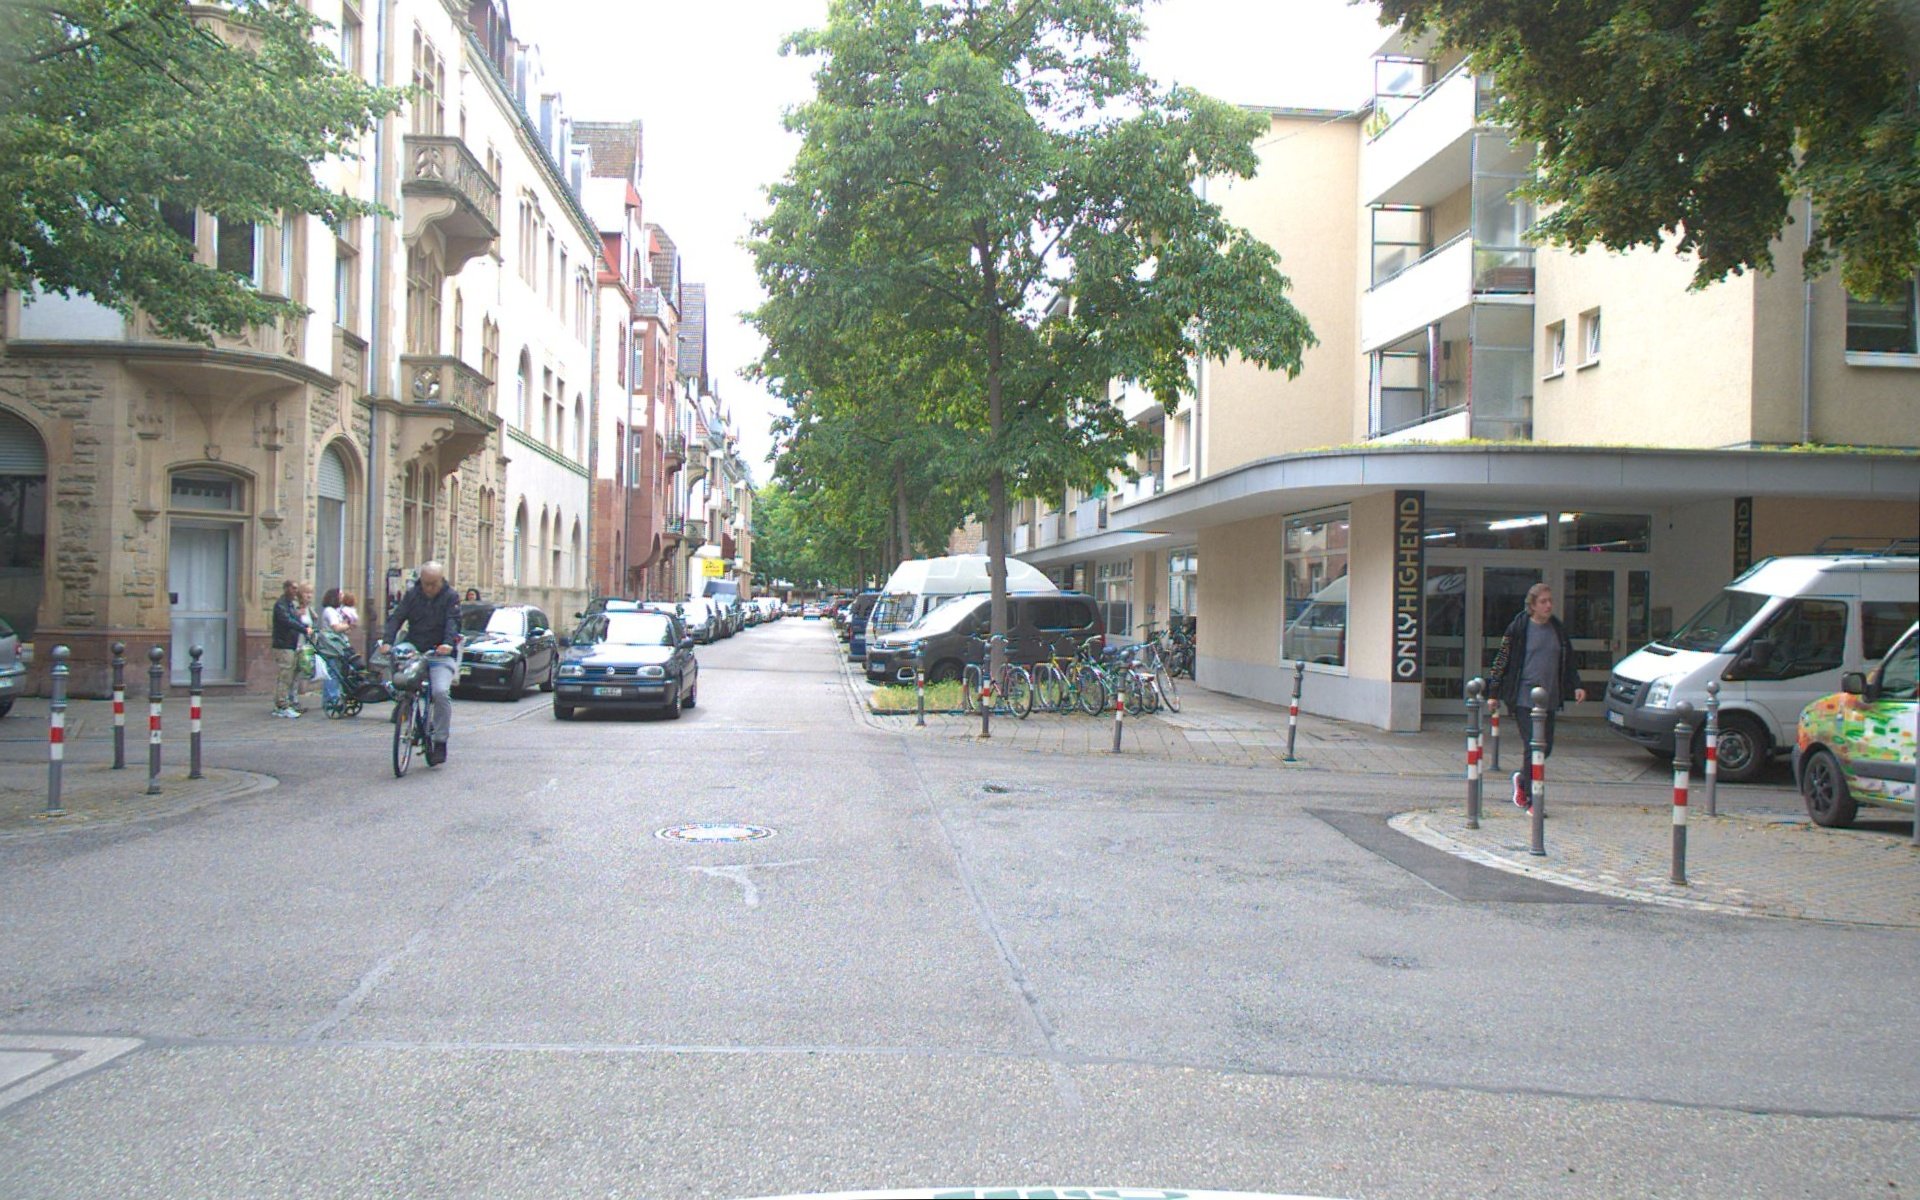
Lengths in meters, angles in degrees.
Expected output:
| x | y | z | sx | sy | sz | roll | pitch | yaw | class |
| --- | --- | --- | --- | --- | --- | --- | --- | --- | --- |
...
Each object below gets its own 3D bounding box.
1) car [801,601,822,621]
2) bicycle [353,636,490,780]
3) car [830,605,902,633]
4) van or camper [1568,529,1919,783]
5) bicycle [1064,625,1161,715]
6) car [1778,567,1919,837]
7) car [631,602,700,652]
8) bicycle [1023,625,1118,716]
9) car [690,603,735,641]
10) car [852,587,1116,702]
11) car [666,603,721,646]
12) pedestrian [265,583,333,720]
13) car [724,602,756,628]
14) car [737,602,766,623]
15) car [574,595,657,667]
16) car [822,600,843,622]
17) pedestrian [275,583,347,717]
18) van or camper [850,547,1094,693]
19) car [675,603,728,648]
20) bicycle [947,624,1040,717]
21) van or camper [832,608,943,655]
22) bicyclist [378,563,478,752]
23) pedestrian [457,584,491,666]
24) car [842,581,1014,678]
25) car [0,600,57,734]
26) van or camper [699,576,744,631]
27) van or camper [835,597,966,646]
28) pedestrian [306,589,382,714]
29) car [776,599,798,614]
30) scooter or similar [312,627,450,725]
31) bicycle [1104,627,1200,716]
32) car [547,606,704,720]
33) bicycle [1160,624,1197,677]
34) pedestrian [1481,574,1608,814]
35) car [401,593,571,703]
| x | y | z | sx | sy | sz | roll | pitch | yaw | class |
| --- | --- | --- | --- | --- | --- | --- | --- | --- | --- |
| -14.425 | 1.052 | 160.838 | 1.954 | 1.825 | 3.996 | 3 | -1 | -4 | car |
| -4.505 | 0.872 | 13.964 | 0.621 | 1.113 | 1.798 | 1 | -1 | -3 | bicycle |
| -5.655 | 1.157 | 99.951 | 3.978 | 1.587 | 1.861 | 2 | -1 | -36 | car |
| 9.855 | 0.556 | 17.980 | 5.652 | 2.537 | 2.137 | 1 | 3 | 1 | van or camper |
| 2.148 | 0.974 | 23.506 | 0.541 | 1.194 | 1.714 | 1 | 0 | -26 | bicycle |
| 7.473 | 0.716 | 11.229 | 1.734 | 1.851 | 3.998 | 1 | 0 | -2 | car |
| -9.166 | 0.829 | 51.731 | 1.692 | 1.410 | 4.132 | 3 | 0 | -5 | car |
| 1.529 | 0.964 | 23.260 | 0.541 | 1.194 | 1.714 | 1 | 0 | -26 | bicycle |
| -10.650 | 0.927 | 71.365 | 1.603 | 1.498 | 3.996 | 3 | 0 | -5 | car |
| 0.440 | 0.760 | 29.074 | 4.286 | 1.886 | 1.892 | 1 | 0 | -30 | car |
| -9.700 | 0.863 | 60.374 | 1.630 | 1.445 | 3.925 | 3 | 0 | -5 | car |
| -8.246 | 0.636 | 20.644 | 0.516 | 1.672 | 0.529 | 2 | 0 | 7 | pedestrian |
| -13.688 | 0.917 | 102.920 | 1.755 | 1.506 | 4.018 | 2 | 0 | -5 | car |
| -15.815 | 0.930 | 125.601 | 1.954 | 1.501 | 3.996 | 1 | 0 | -5 | car |
| -8.459 | 0.734 | 40.819 | 1.615 | 1.598 | 2.953 | 3 | 1 | -6 | car |
| -13.118 | 1.121 | 169.949 | 1.955 | 2.048 | 3.995 | 4 | -1 | -5 | car |
| -8.326 | 0.633 | 21.237 | 0.603 | 1.672 | 0.604 | 2 | 0 | 7 | pedestrian |
| 0.276 | 0.388 | 32.134 | 4.548 | 2.641 | 1.885 | 1 | 0 | -38 | van or camper |
| -10.392 | 0.992 | 66.763 | 1.751 | 1.675 | 4.357 | 3 | 0 | -5 | car |
| 0.437 | 0.938 | 22.564 | 0.541 | 1.194 | 1.714 | 1 | 0 | -26 | bicycle |
| -3.277 | 1.440 | 75.342 | 4.680 | 2.029 | 1.979 | 0 | -2 | -31 | van or camper |
| -4.507 | 0.478 | 14.044 | 0.635 | 1.565 | 0.676 | 0 | 0 | -3 | bicyclist |
| -9.312 | 0.474 | 31.716 | 0.505 | 1.545 | 0.546 | 1 | 0 | -5 | pedestrian |
| -0.722 | 0.711 | 40.808 | 2.026 | 2.235 | 4.382 | 1 | 0 | 36 | car |
| -12.556 | 0.758 | 18.984 | 3.493 | 1.485 | 1.651 | 0 | 2 | 4 | car |
| -12.445 | 0.143 | 86.573 | 1.969 | 2.697 | 5.311 | 1 | 1 | -5 | van or camper |
| -2.384 | 0.847 | 67.099 | 4.959 | 1.902 | 2.103 | 0 | 0 | -33 | van or camper |
| -8.183 | 0.677 | 21.975 | 0.619 | 1.621 | 0.667 | 1 | 0 | 36 | pedestrian |
| -20.612 | 0.808 | 196.792 | 1.793 | 1.673 | 3.733 | 3 | -2 | -19 | car |
| -7.289 | 0.949 | 20.848 | 1.438 | 1.123 | 0.676 | 3 | 0 | 7 | scooter or similar |
| 2.749 | 1.009 | 23.805 | 0.541 | 1.194 | 1.683 | 1 | 0 | -26 | bicycle |
| -4.573 | 0.851 | 23.093 | 1.674 | 1.438 | 3.848 | 1 | -1 | -4 | car |
| 4.720 | 1.081 | 35.823 | 0.475 | 1.109 | 1.700 | 1 | 0 | -3 | bicycle |
| 4.579 | 0.724 | 12.984 | 0.763 | 1.828 | 0.509 | 2 | 0 | -3 | pedestrian |
| -7.365 | 0.748 | 26.093 | 1.675 | 1.521 | 3.997 | 3 | -1 | -3 | car |
